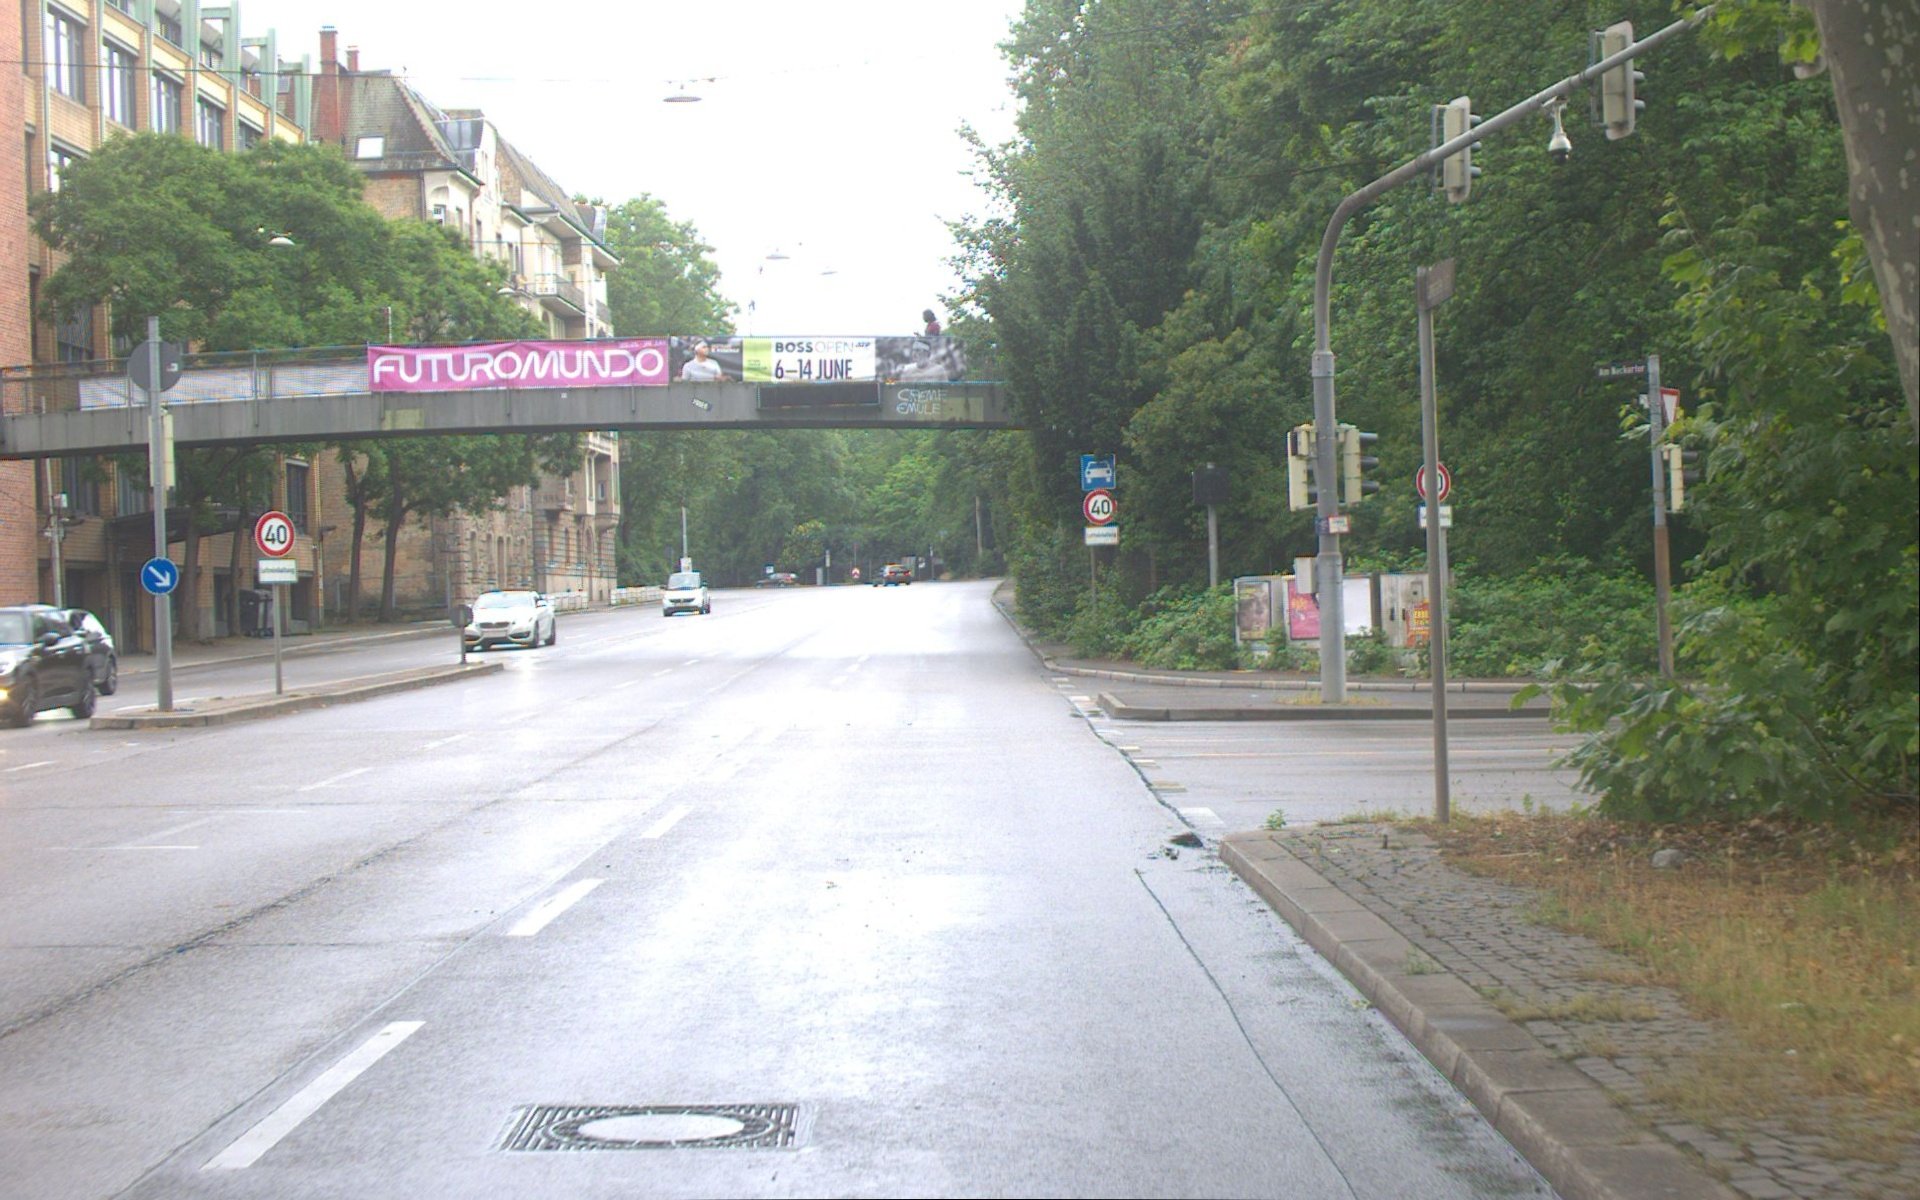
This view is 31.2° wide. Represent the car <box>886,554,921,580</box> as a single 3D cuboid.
[{"bbox_3d":[-3.818,-2.227,232.107,2.004,1.638,4.376,-1,0,-5],"label":"car"}]

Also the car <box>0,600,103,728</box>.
[{"bbox_3d":[-11.513,0.742,40.770,1.683,1.431,3.862,-2,0,0],"label":"car"}]

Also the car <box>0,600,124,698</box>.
[{"bbox_3d":[-14.616,0.760,54.274,1.709,1.459,4.041,-1,0,2],"label":"car"}]

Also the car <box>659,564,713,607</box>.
[{"bbox_3d":[-10.017,-0.523,125.759,1.600,1.494,3.711,-2,0,0],"label":"car"}]

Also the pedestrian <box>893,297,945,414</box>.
[{"bbox_3d":[-0.859,-5.077,71.480,0.954,2.337,1.007,1,0,-6],"label":"pedestrian"}]

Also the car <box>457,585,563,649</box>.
[{"bbox_3d":[-10.575,0.389,81.030,1.830,1.389,4.405,-2,0,0],"label":"car"}]

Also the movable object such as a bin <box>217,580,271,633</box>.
[{"bbox_3d":[-21.184,0.189,101.734,1.282,1.513,1.273,-1,0,1],"label":"movable object such as a bin"}]
